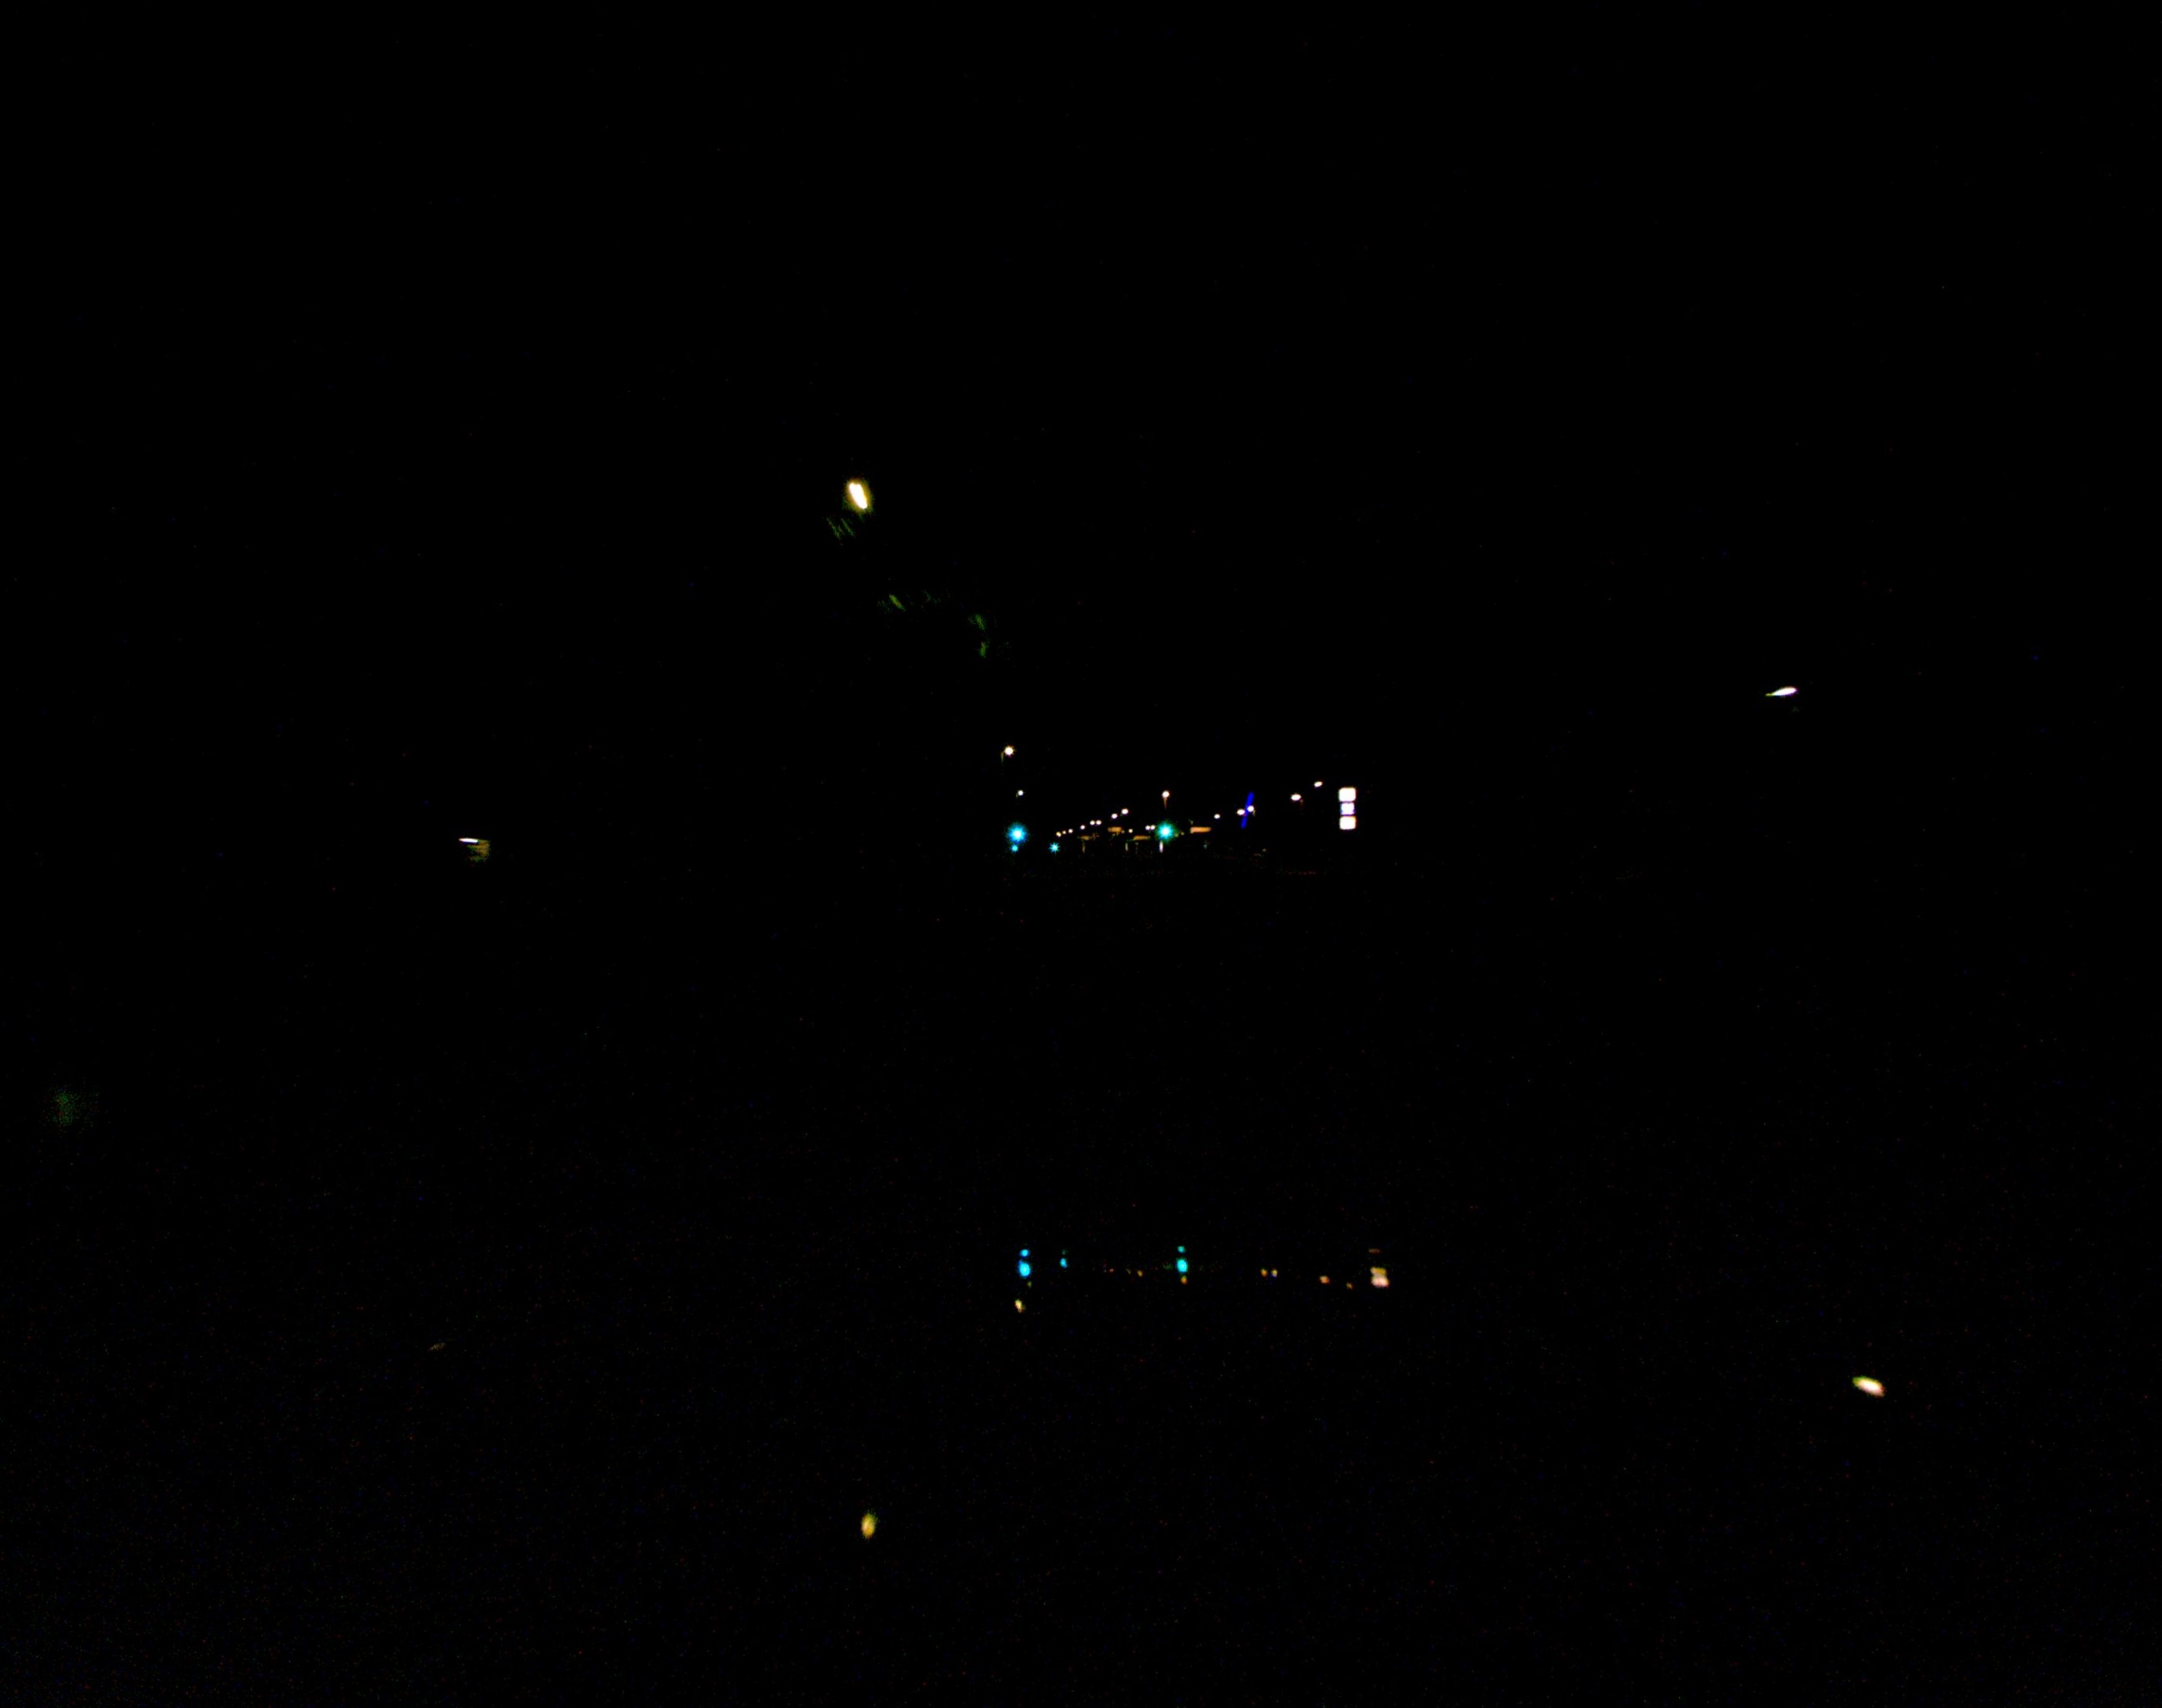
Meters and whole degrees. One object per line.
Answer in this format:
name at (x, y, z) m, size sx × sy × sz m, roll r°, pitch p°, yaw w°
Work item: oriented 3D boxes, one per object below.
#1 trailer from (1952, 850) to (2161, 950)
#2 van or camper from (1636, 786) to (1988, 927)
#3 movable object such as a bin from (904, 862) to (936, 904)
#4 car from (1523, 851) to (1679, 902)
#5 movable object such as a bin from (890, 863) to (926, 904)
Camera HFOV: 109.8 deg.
trailer at (16.095, 0.694, 10.700) m, size 2.424 × 1.367 × 4.656 m, roll 3°, pitch 1°, yaw 5°
van or camper at (15.979, 0.037, 17.277) m, size 2.279 × 2.632 × 5.662 m, roll 2°, pitch 0°, yaw -3°
movable object such as a bin at (-4.726, 0.851, 22.330) m, size 0.725 × 1.194 × 0.720 m, roll 0°, pitch 0°, yaw 8°
car at (15.878, 0.610, 23.550) m, size 1.650 × 1.332 × 4.542 m, roll 3°, pitch 0°, yaw 0°
movable object such as a bin at (-4.878, 0.810, 21.450) m, size 0.724 × 1.115 × 0.894 m, roll 0°, pitch 1°, yaw 8°
